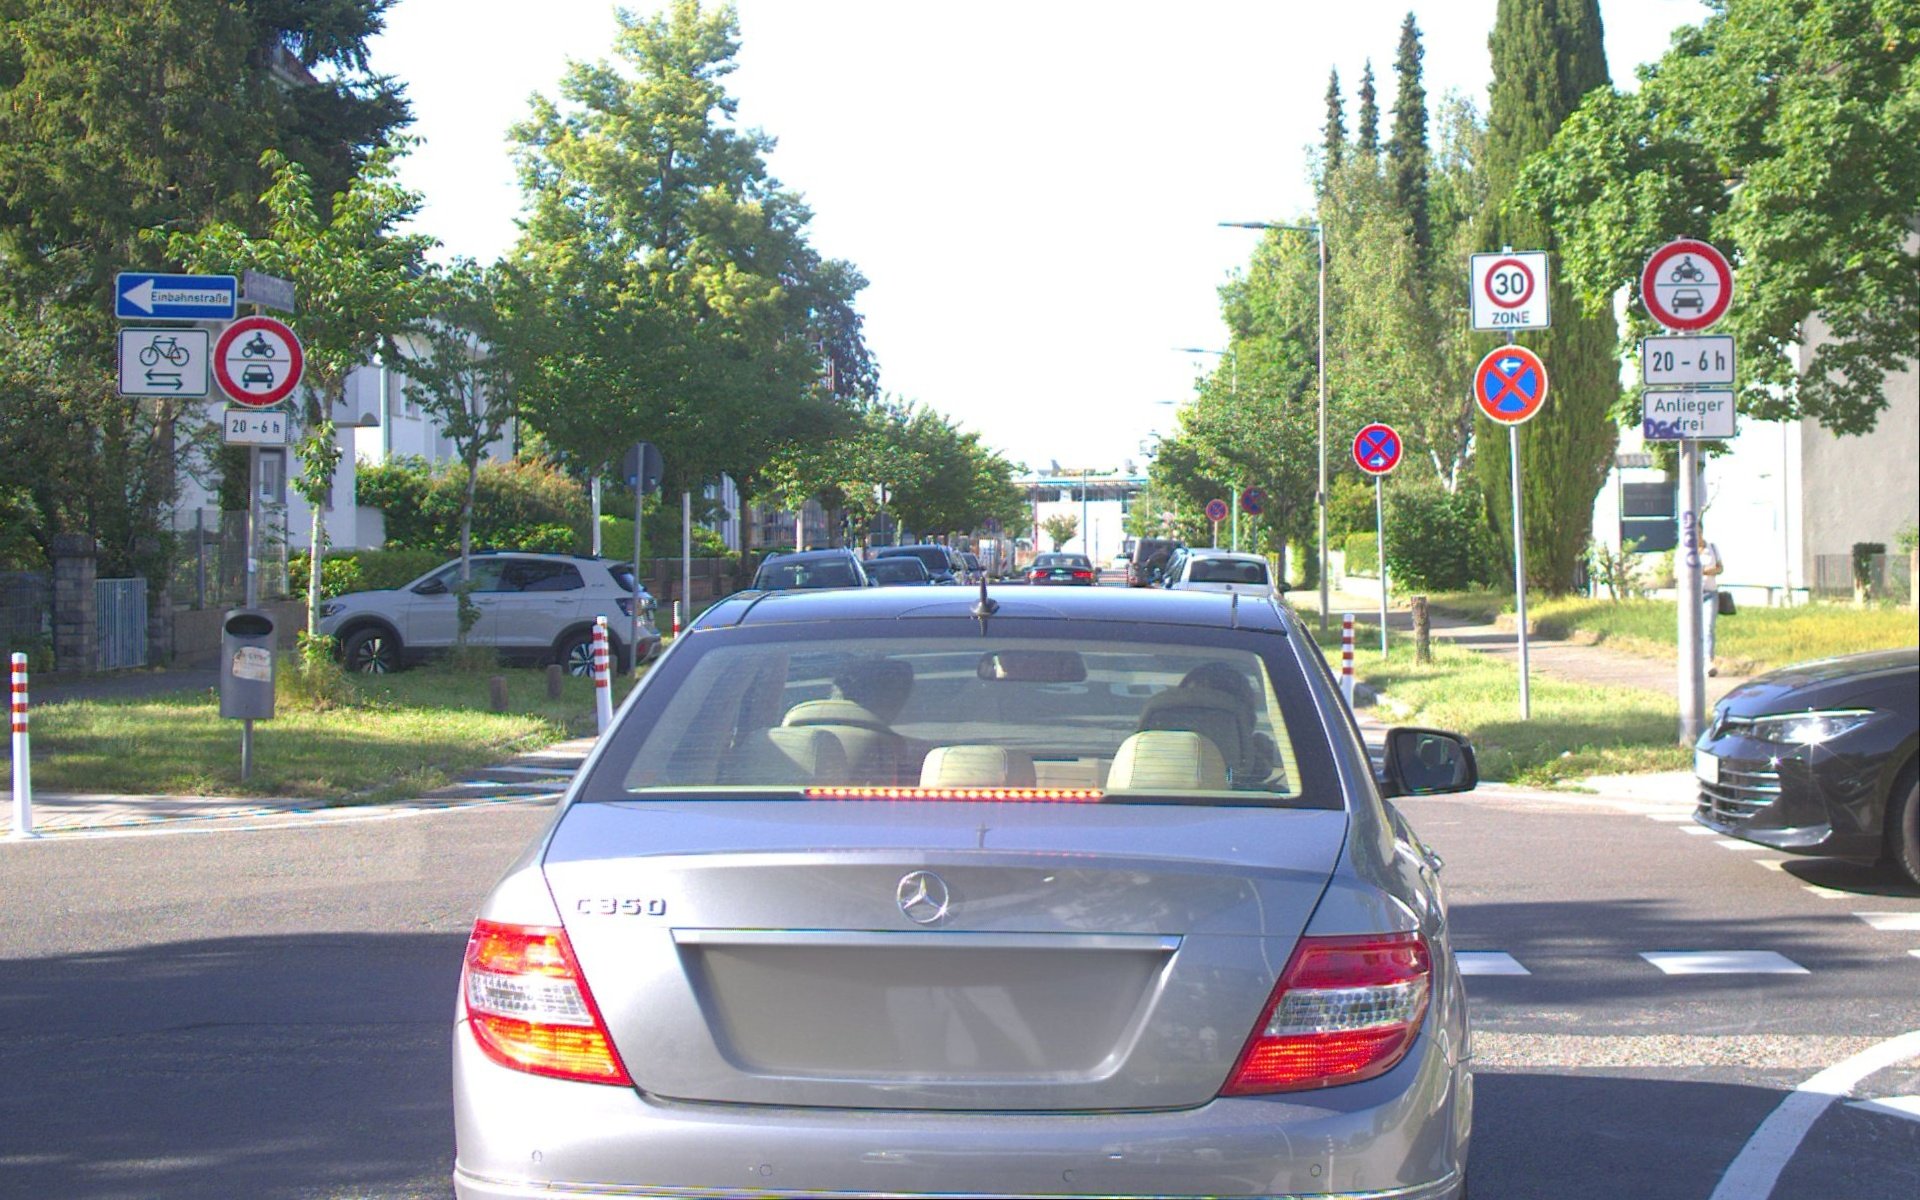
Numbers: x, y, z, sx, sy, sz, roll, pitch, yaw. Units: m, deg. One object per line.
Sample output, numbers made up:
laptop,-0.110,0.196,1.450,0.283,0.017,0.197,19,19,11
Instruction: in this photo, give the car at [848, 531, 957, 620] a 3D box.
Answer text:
car,-1.120,-0.513,69.076,1.993,1.604,4.000,-4,1,0

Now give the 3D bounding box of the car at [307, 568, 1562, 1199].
car,0.066,0.666,7.022,1.836,1.436,4.000,0,1,3

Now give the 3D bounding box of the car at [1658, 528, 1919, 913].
car,5.510,0.435,14.567,4.740,1.519,2.000,-1,1,3

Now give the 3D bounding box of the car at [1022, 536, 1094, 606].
car,2.310,-0.709,81.827,1.597,1.604,3.644,-1,1,0

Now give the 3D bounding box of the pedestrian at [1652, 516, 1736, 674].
pedestrian,7.616,-0.058,35.719,0.766,1.605,0.834,-1,1,7

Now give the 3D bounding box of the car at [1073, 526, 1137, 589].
car,4.329,-1.299,103.183,1.855,1.835,4.000,-1,1,2

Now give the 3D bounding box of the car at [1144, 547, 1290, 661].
car,3.511,0.026,47.574,1.733,1.474,3.725,-1,1,0

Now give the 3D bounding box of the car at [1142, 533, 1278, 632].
car,4.200,-0.326,58.290,1.993,1.604,4.000,-1,1,0

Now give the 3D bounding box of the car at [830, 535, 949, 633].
car,-1.269,-0.319,63.286,1.993,1.604,4.000,-4,1,0

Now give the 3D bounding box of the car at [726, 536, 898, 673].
car,-1.906,0.019,45.490,1.993,1.604,4.000,-4,1,0

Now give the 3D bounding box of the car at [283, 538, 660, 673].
car,-5.699,0.049,40.490,4.192,1.558,1.842,0,1,-1
